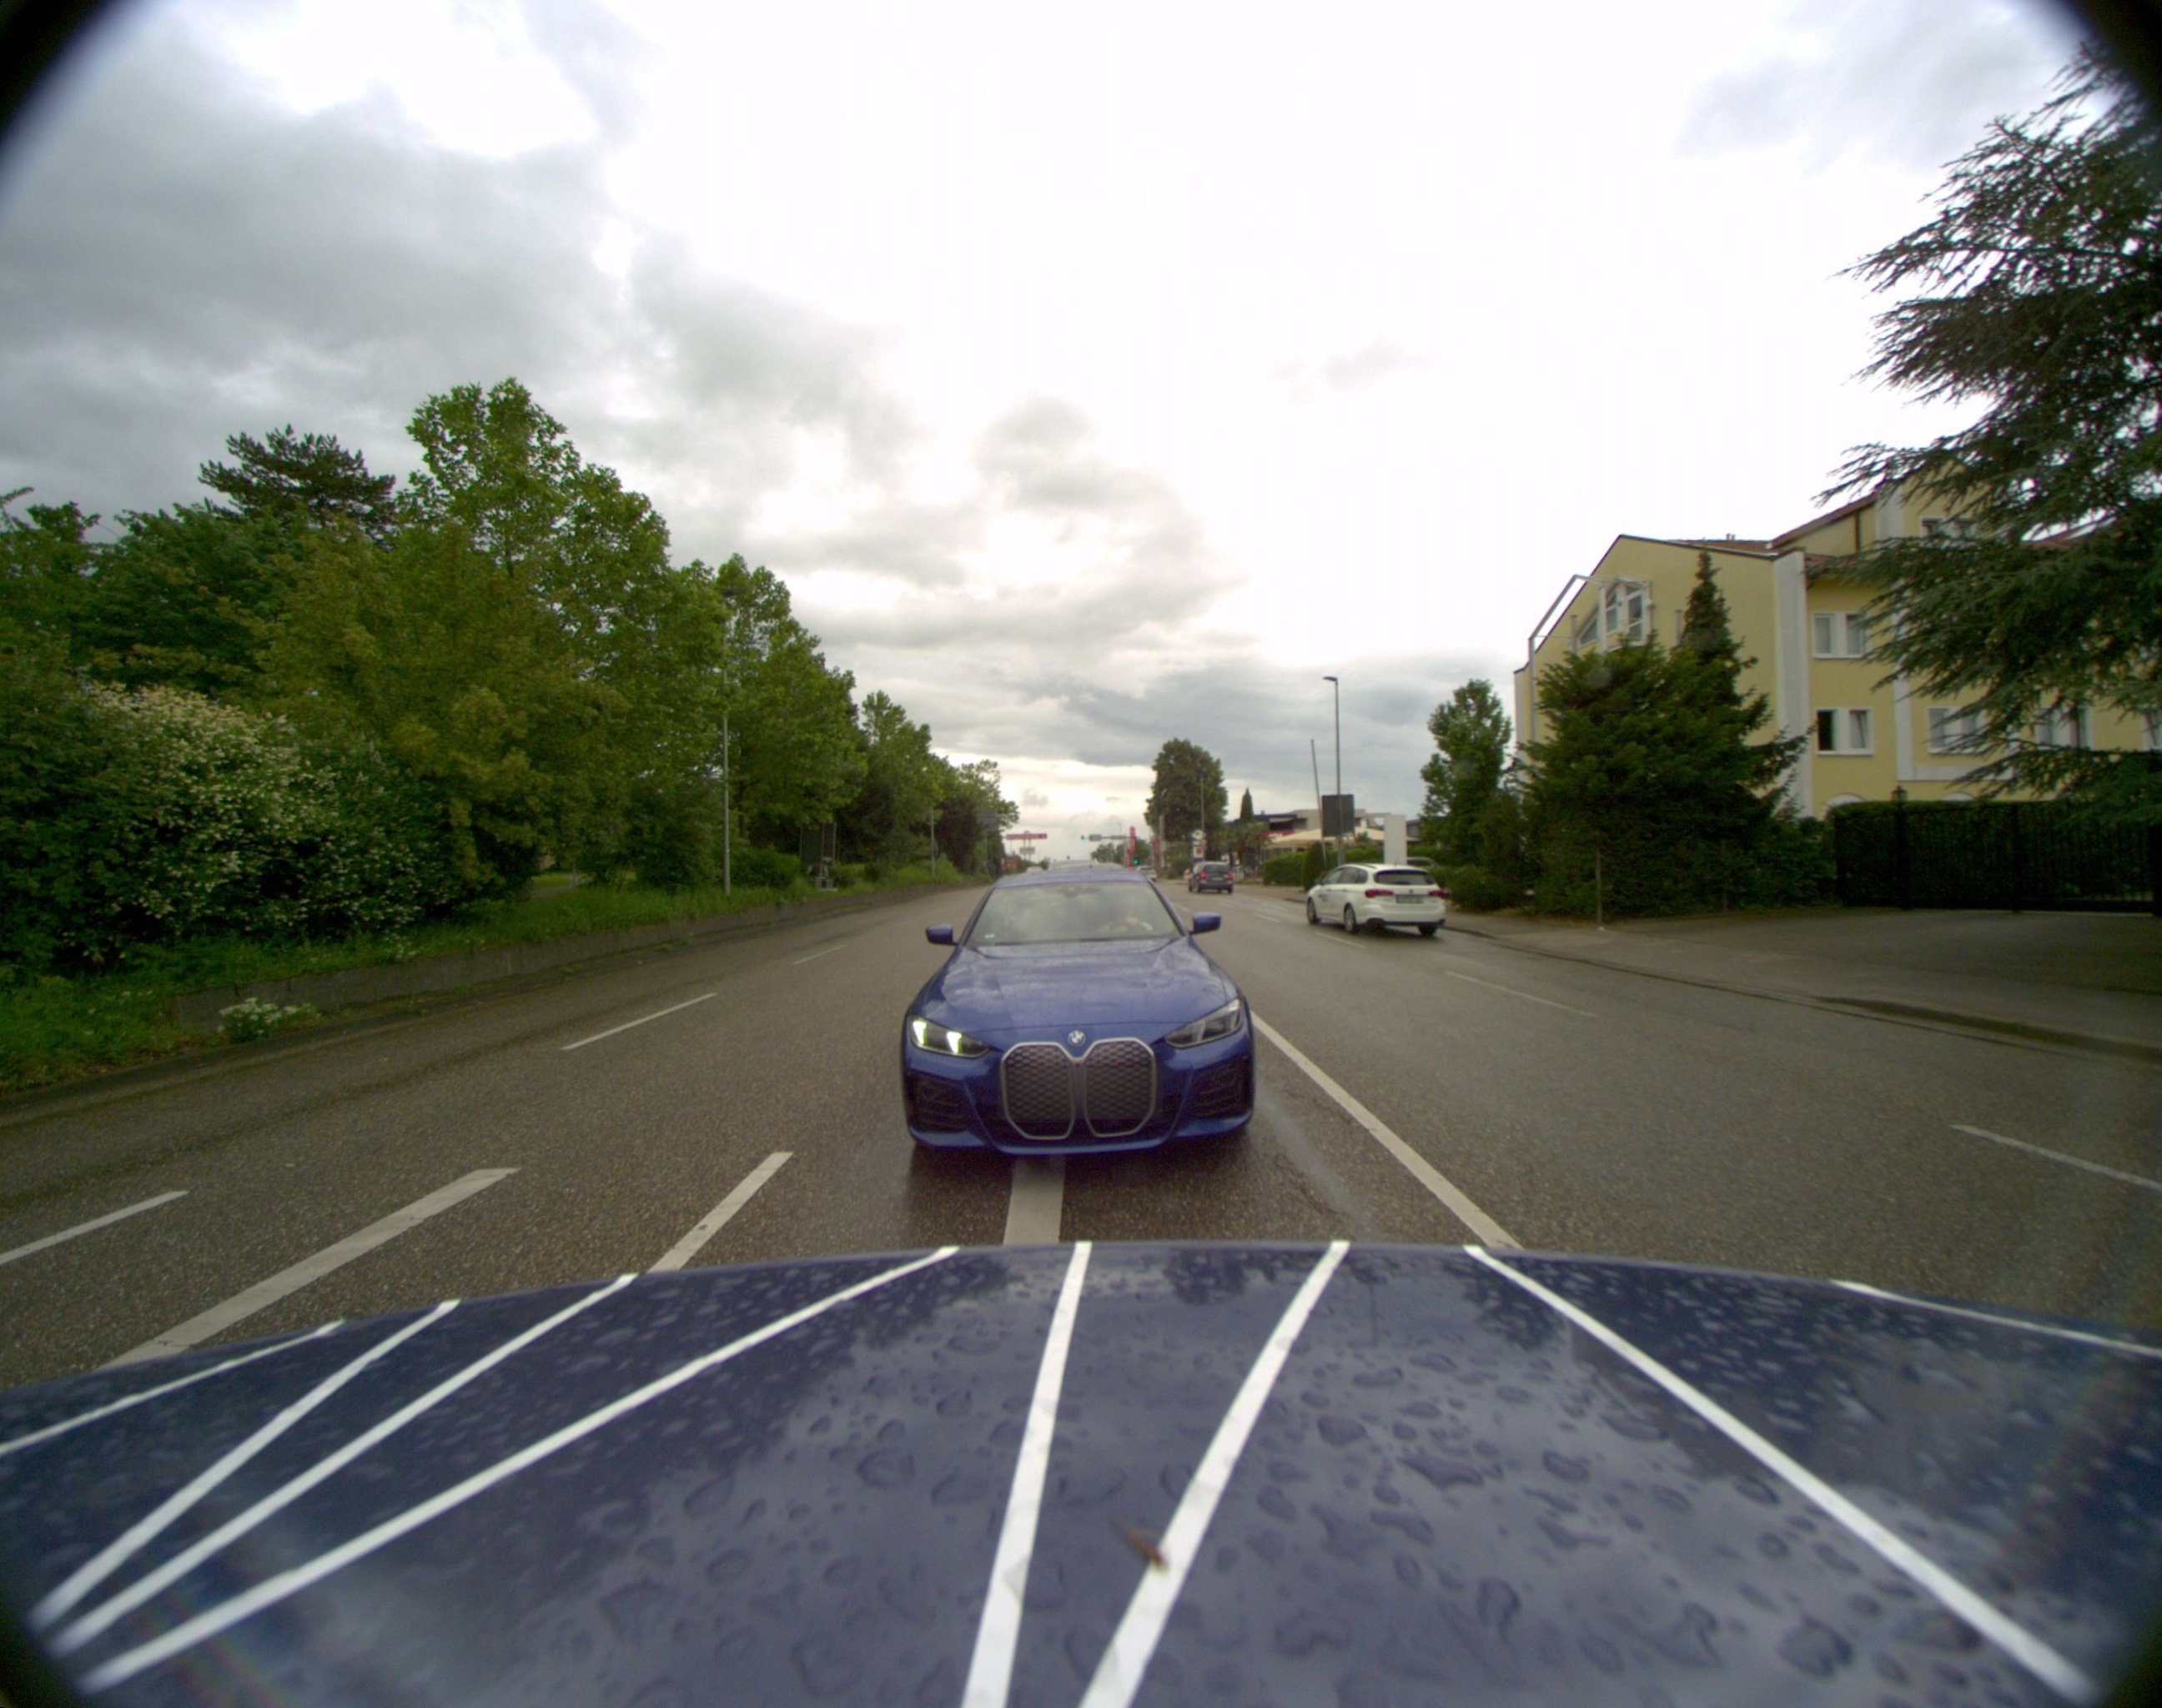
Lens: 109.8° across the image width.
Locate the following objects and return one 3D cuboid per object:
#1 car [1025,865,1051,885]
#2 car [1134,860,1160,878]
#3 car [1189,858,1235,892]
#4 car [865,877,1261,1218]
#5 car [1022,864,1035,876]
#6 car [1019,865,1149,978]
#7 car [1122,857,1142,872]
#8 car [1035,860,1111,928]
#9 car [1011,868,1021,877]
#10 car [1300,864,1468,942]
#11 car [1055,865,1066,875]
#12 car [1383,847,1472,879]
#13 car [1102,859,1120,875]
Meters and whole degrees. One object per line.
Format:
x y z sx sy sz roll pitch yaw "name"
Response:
-3.359 1.612 60.409 1.775 1.448 4.000 -1 0 1 "car"
5.853 1.290 67.855 1.790 1.451 4.431 -1 0 -3 "car"
6.642 1.036 38.851 1.703 1.590 3.550 2 0 0 "car"
-0.082 0.960 5.651 1.803 1.399 4.272 -1 0 0 "car"
-8.009 2.434 115.648 1.705 1.612 3.841 -3 0 -2 "car"
0.054 0.978 12.809 1.807 1.543 4.223 -1 0 0 "car"
5.523 1.089 82.537 1.700 1.467 3.779 -2 0 -2 "car"
-0.180 0.988 20.425 1.807 1.543 4.000 -1 0 0 "car"
-13.685 3.938 160.119 1.812 1.718 3.998 -3 1 -3 "car"
6.483 0.978 16.848 1.972 1.446 4.308 0 0 -1 "car"
-3.555 2.729 133.103 1.837 1.565 3.512 -3 1 -1 "car"
18.437 0.461 40.559 3.930 1.642 1.719 -1 0 6 "car"
2.882 1.194 73.029 1.643 1.451 3.518 -1 0 0 "car"
